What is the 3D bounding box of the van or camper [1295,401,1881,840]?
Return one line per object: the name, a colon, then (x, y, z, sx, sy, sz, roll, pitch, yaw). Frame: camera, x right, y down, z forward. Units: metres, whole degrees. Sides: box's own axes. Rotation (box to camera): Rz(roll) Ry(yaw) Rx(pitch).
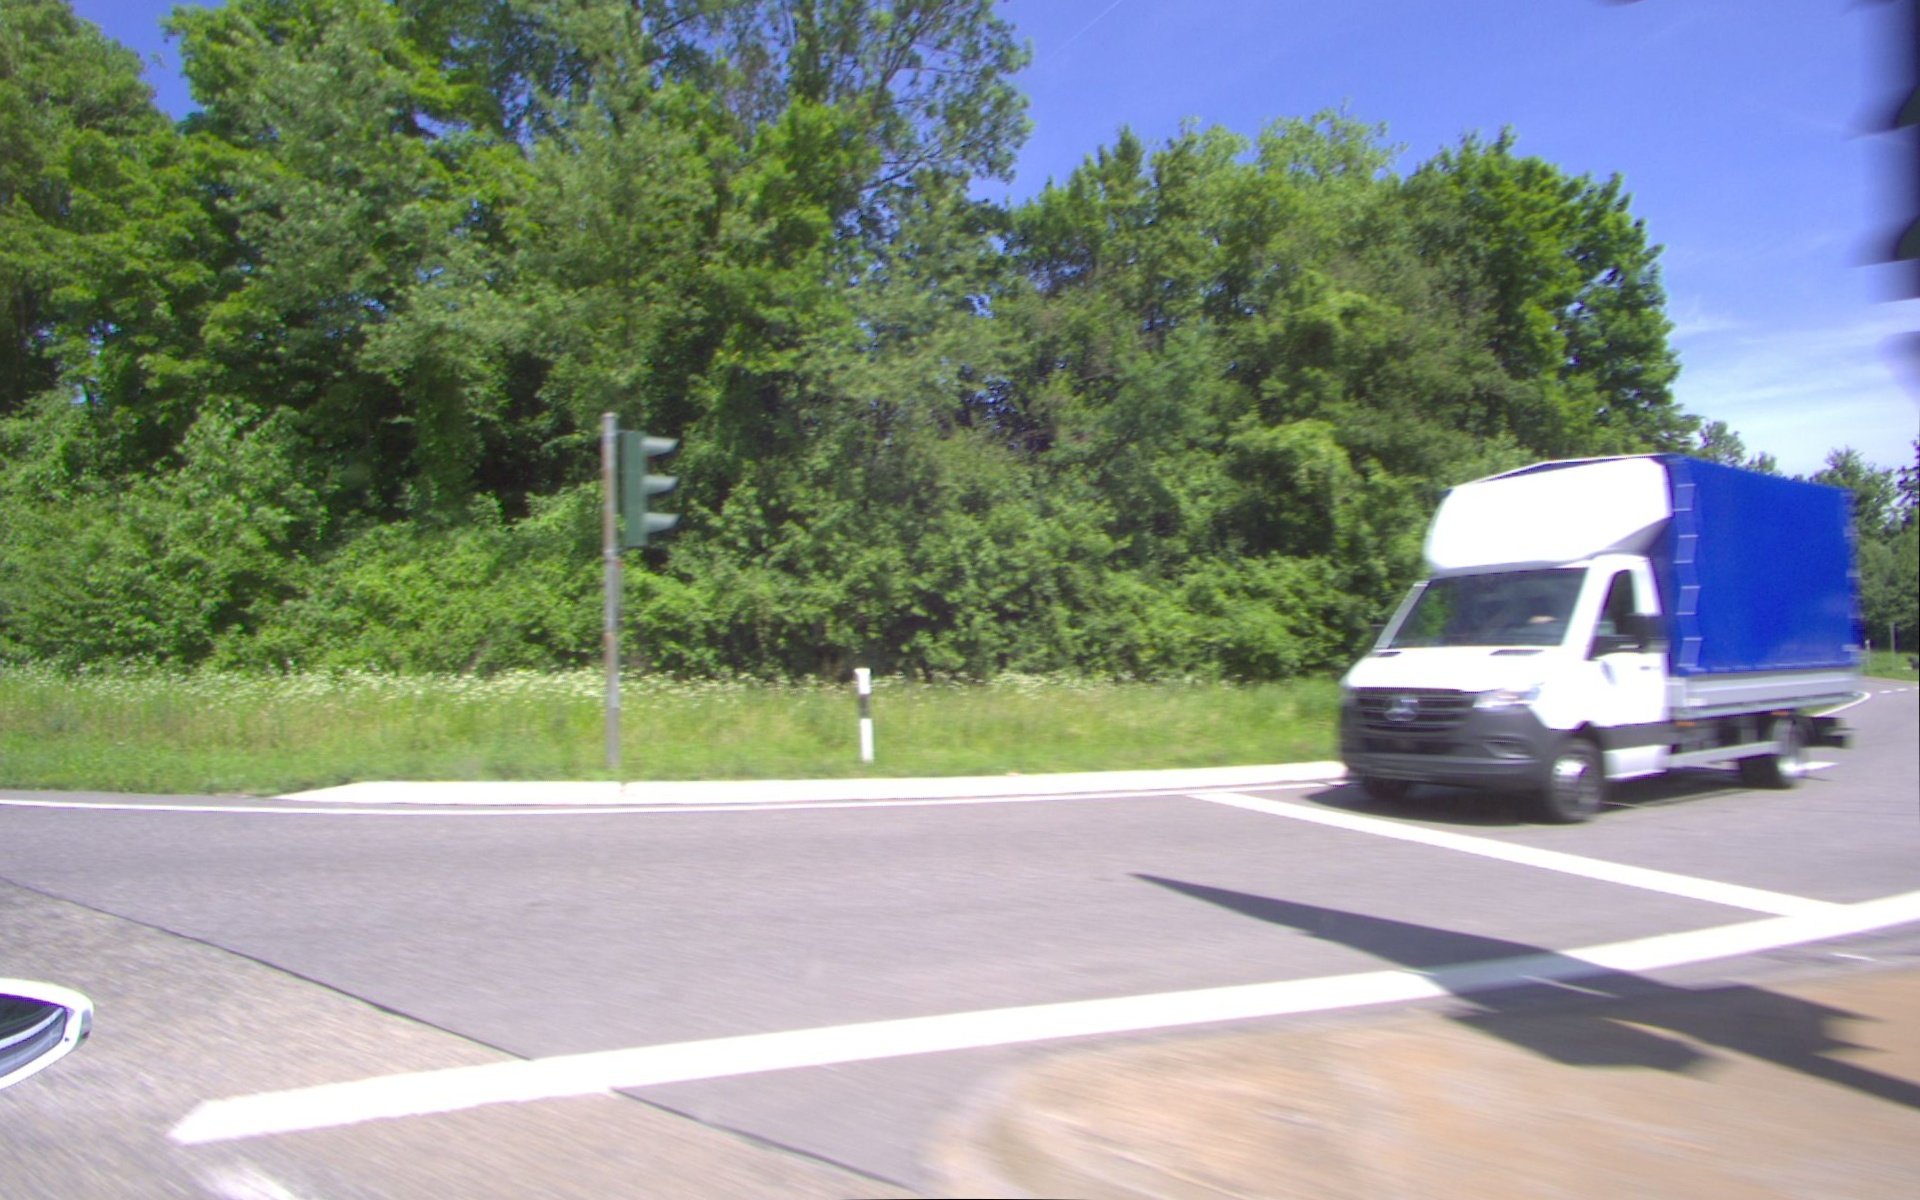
van or camper: (6.686, 0.272, 10.221, 7.155, 3.251, 2.094, 1, -3, -32)
